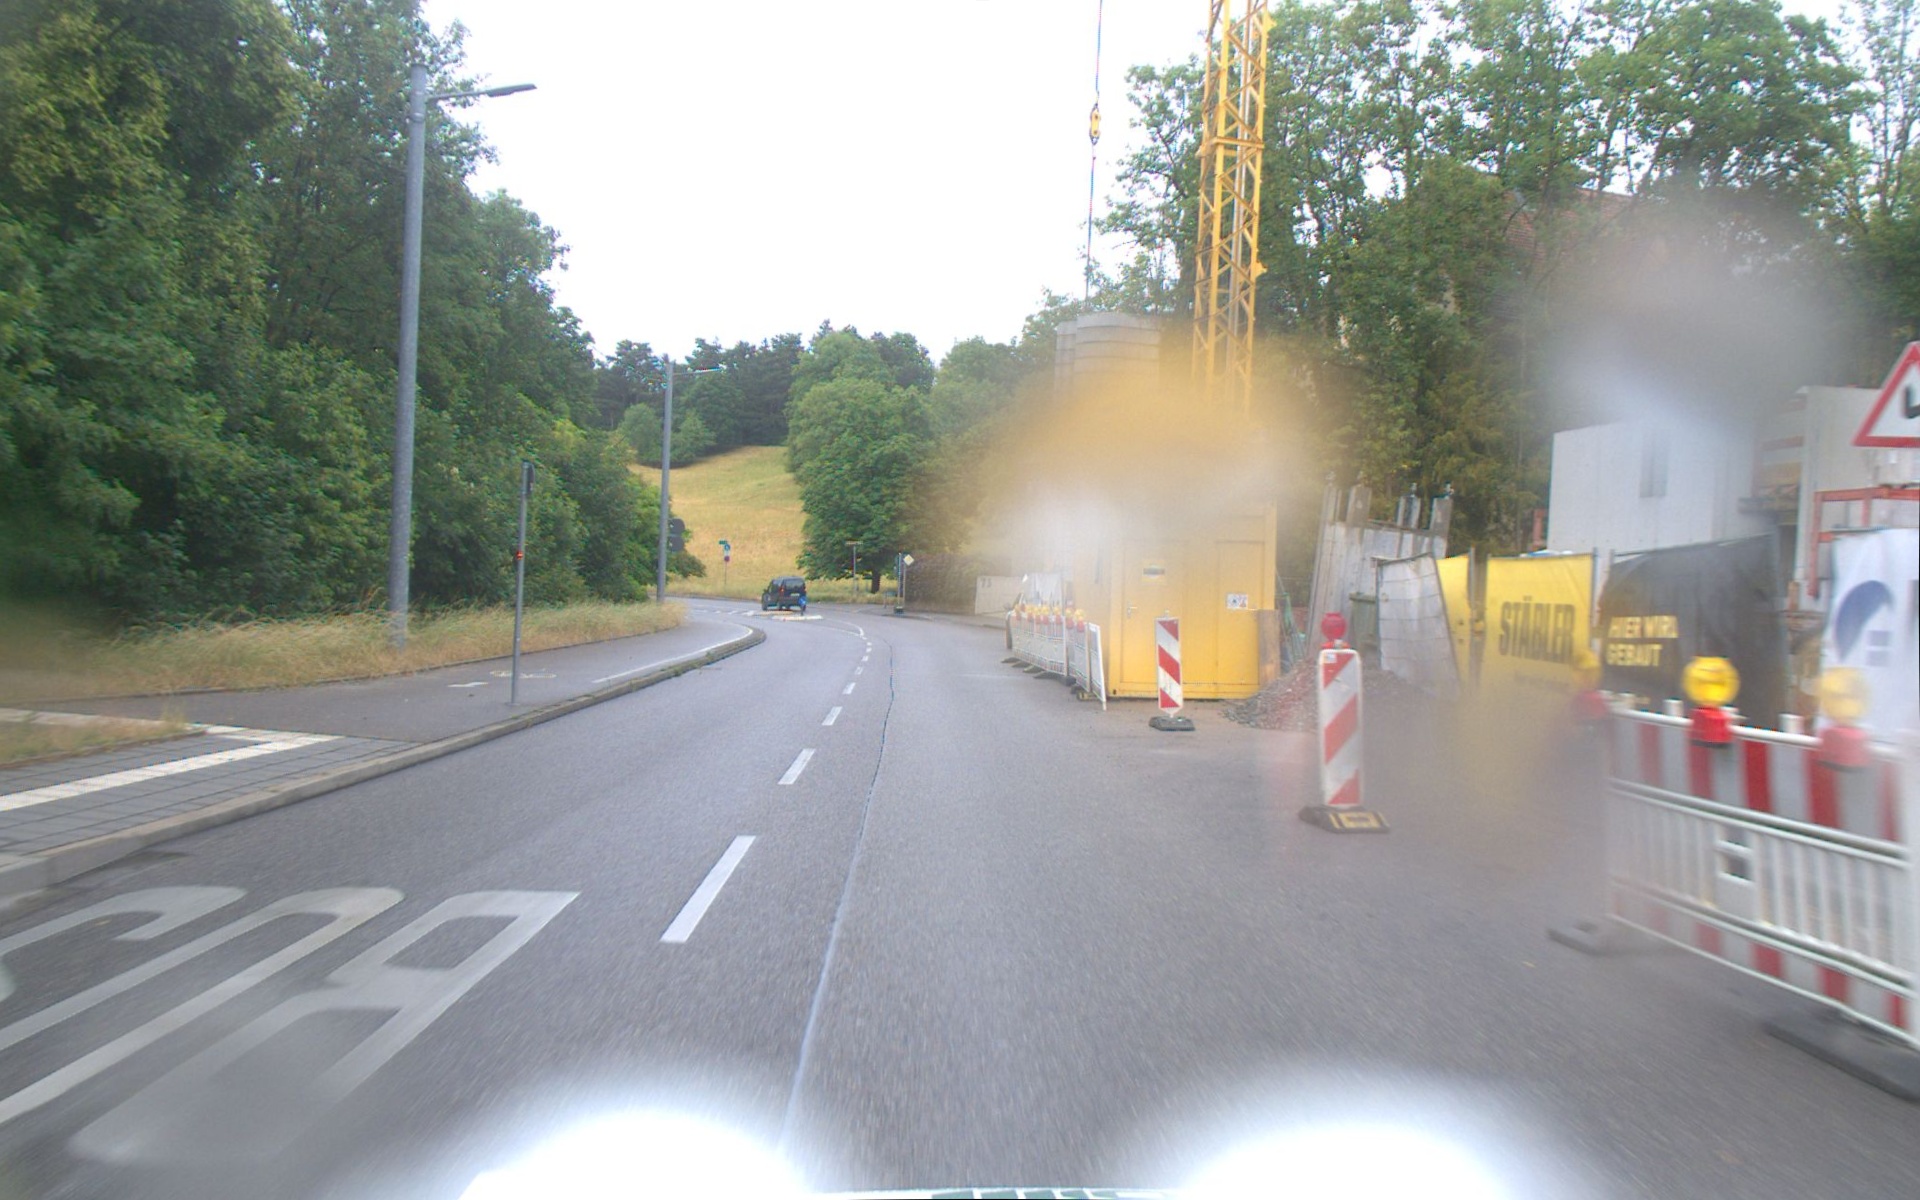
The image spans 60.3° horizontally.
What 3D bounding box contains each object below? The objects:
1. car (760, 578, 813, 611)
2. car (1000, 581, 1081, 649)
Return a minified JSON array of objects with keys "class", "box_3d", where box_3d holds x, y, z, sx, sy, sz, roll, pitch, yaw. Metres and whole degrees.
[{"class":"car","box_3d":[-9.788,-0.315,93.098,1.906,1.782,3.971,1,1,-24]},{"class":"car","box_3d":[2.108,0.361,44.282,1.710,1.735,4.499,0,0,-3]}]
